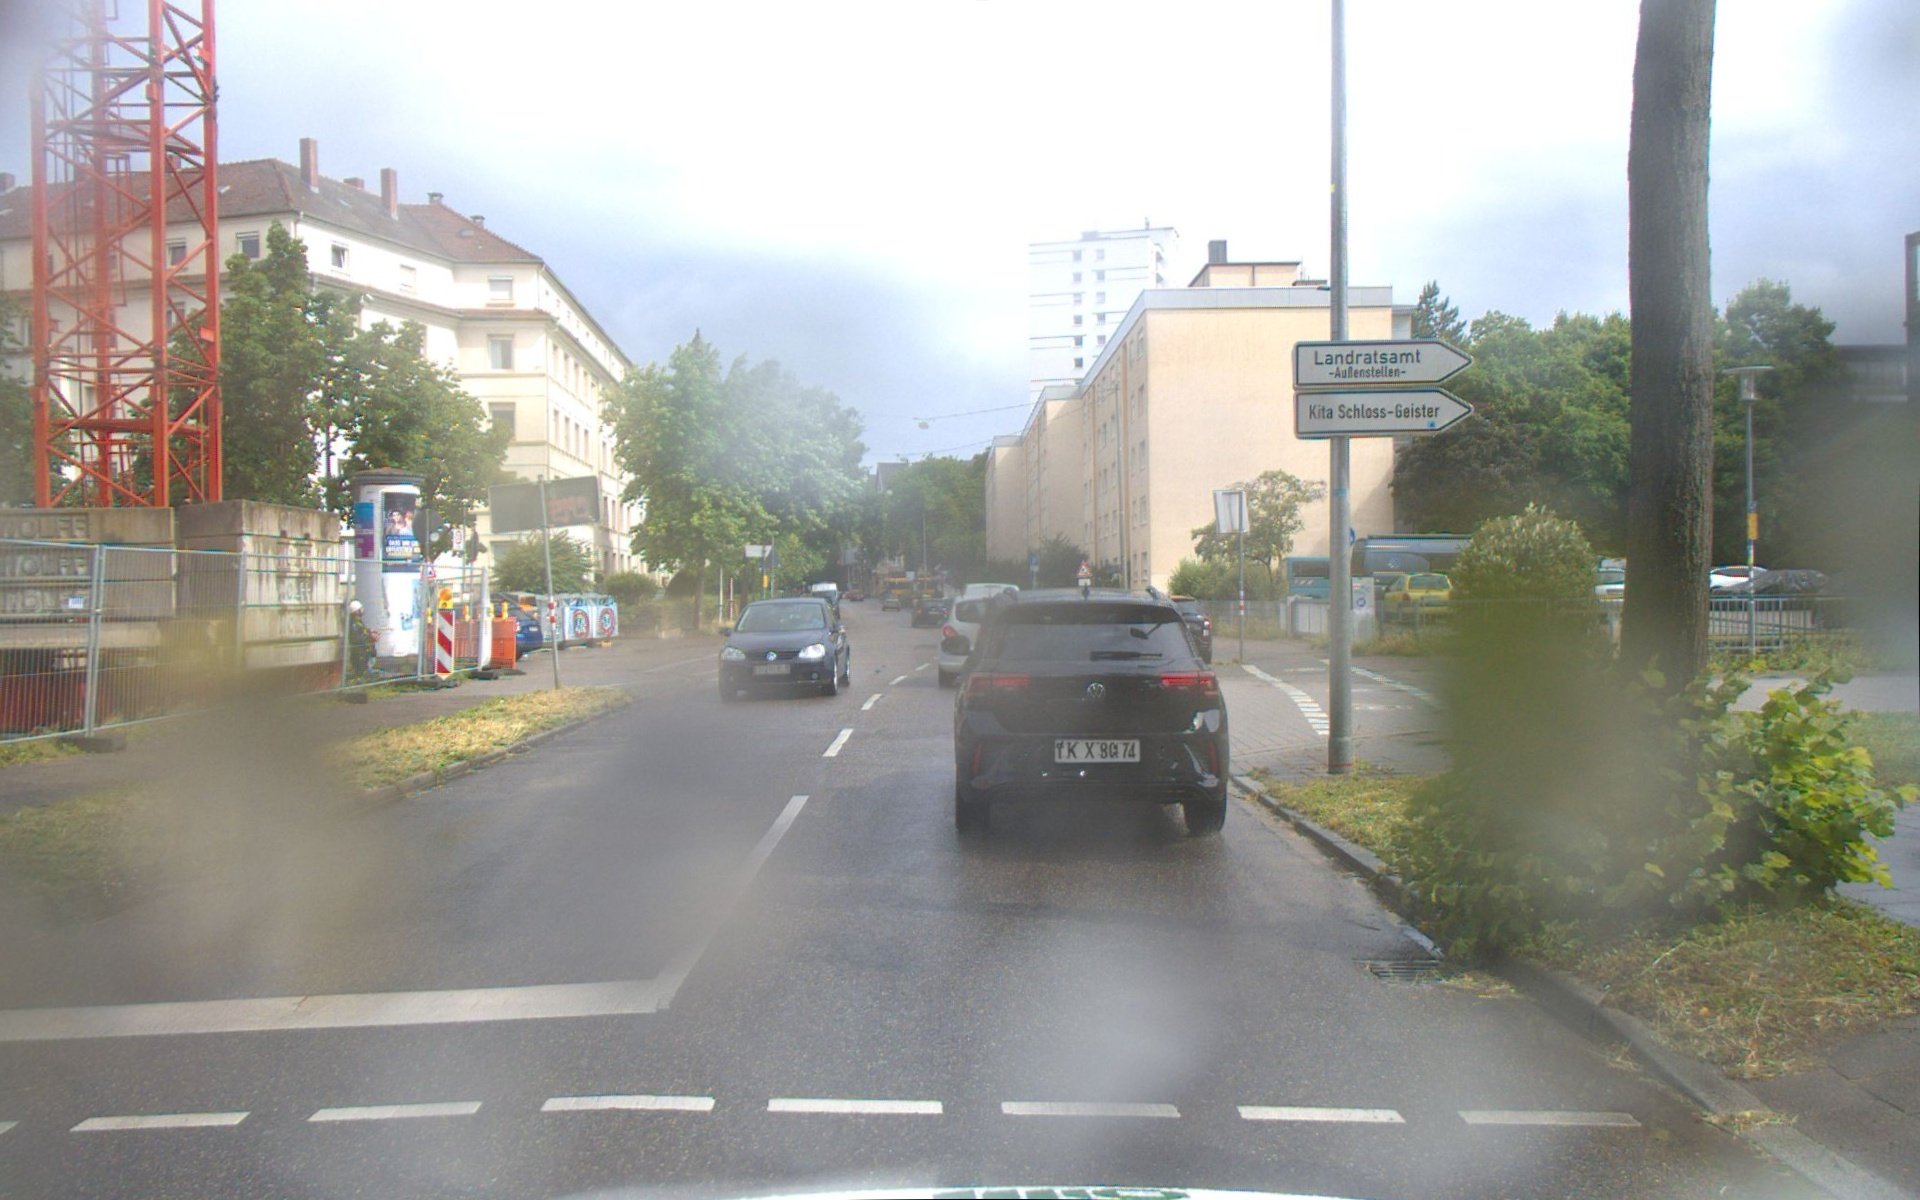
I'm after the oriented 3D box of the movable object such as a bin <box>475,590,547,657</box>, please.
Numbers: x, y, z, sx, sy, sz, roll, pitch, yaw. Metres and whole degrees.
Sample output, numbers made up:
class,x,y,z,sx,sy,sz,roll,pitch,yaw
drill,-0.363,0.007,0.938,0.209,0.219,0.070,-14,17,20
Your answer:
class,x,y,z,sx,sy,sz,roll,pitch,yaw
movable object such as a bin,-12.912,0.657,47.547,1.505,1.856,1.264,-1,1,18

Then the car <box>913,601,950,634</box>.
class,x,y,z,sx,sy,sz,roll,pitch,yaw
car,-1.416,0.836,80.517,1.573,1.536,3.545,-2,0,-4

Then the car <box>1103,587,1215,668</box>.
class,x,y,z,sx,sy,sz,roll,pitch,yaw
car,4.316,0.559,36.540,1.738,1.566,4.376,-3,0,-2

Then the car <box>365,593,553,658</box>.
class,x,y,z,sx,sy,sz,roll,pitch,yaw
car,-13.083,0.634,43.325,4.338,1.612,1.823,1,0,8

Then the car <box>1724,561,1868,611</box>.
class,x,y,z,sx,sy,sz,roll,pitch,yaw
car,27.502,-0.453,54.494,3.892,1.491,1.673,-2,0,1

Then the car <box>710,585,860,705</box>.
class,x,y,z,sx,sy,sz,roll,pitch,yaw
car,-2.635,0.642,25.741,1.803,1.636,4.000,-3,0,1

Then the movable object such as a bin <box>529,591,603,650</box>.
class,x,y,z,sx,sy,sz,roll,pitch,yaw
movable object such as a bin,-12.065,0.612,50.661,1.505,1.703,1.666,-1,1,18

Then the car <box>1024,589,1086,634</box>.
class,x,y,z,sx,sy,sz,roll,pitch,yaw
car,3.386,0.441,59.763,1.714,1.534,4.108,-1,-1,-4

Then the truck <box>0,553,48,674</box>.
class,x,y,z,sx,sy,sz,roll,pitch,yaw
truck,-30.521,0.508,45.281,9.603,3.240,3.795,-2,0,13

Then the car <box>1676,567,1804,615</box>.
class,x,y,z,sx,sy,sz,roll,pitch,yaw
car,26.728,-0.301,56.750,3.590,1.512,1.640,-2,0,3

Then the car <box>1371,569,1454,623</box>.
class,x,y,z,sx,sy,sz,roll,pitch,yaw
car,13.182,-0.109,48.319,1.577,1.474,3.418,-2,0,2

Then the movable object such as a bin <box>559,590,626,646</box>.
class,x,y,z,sx,sy,sz,roll,pitch,yaw
movable object such as a bin,-11.581,0.553,52.184,1.505,1.691,1.459,-1,1,18

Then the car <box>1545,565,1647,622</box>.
class,x,y,z,sx,sy,sz,roll,pitch,yaw
car,18.269,-0.186,47.672,1.614,1.512,3.719,-2,0,2

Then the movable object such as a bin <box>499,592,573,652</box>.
class,x,y,z,sx,sy,sz,roll,pitch,yaw
movable object such as a bin,-12.578,0.648,49.092,1.505,1.685,1.528,-1,1,18

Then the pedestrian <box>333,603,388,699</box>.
class,x,y,z,sx,sy,sz,roll,pitch,yaw
pedestrian,-10.543,0.893,29.098,0.716,1.658,0.675,2,-1,-38

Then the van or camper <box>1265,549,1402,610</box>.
class,x,y,z,sx,sy,sz,roll,pitch,yaw
van or camper,13.988,-0.777,62.139,4.660,2.168,2.322,-1,0,3

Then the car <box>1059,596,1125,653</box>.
class,x,y,z,sx,sy,sz,roll,pitch,yaw
car,3.797,0.726,48.051,1.720,1.554,4.000,1,-1,2

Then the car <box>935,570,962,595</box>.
class,x,y,z,sx,sy,sz,roll,pitch,yaw
car,-0.778,-1.216,115.837,1.803,1.636,3.675,-3,0,0

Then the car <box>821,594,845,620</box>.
class,x,y,z,sx,sy,sz,roll,pitch,yaw
car,-8.672,0.473,112.498,1.555,1.668,3.916,-2,0,-5

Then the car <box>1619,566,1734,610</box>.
class,x,y,z,sx,sy,sz,roll,pitch,yaw
car,26.914,-0.454,62.197,3.590,1.512,1.640,-2,0,3

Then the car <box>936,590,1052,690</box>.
class,x,y,z,sx,sy,sz,roll,pitch,yaw
car,0.511,0.645,27.748,1.776,1.529,3.999,1,-1,-1

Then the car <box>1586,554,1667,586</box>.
class,x,y,z,sx,sy,sz,roll,pitch,yaw
car,31.377,-1.399,77.916,3.158,1.422,1.509,-2,0,3

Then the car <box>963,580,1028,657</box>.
class,x,y,z,sx,sy,sz,roll,pitch,yaw
car,1.043,0.547,48.553,1.798,2.140,4.000,1,-1,1

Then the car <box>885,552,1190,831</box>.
class,x,y,z,sx,sy,sz,roll,pitch,yaw
car,0.453,0.578,12.099,1.835,1.674,4.061,1,-1,-1

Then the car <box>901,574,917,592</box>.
class,x,y,z,sx,sy,sz,roll,pitch,yaw
car,-5.524,-1.788,178.711,1.632,1.870,3.998,-2,0,-3

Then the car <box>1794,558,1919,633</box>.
class,x,y,z,sx,sy,sz,roll,pitch,yaw
car,20.406,-0.127,36.731,1.790,1.553,4.425,-2,0,4

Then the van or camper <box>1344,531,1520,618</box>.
class,x,y,z,sx,sy,sz,roll,pitch,yaw
van or camper,14.760,-0.774,51.933,4.895,2.599,2.175,-1,-1,1
